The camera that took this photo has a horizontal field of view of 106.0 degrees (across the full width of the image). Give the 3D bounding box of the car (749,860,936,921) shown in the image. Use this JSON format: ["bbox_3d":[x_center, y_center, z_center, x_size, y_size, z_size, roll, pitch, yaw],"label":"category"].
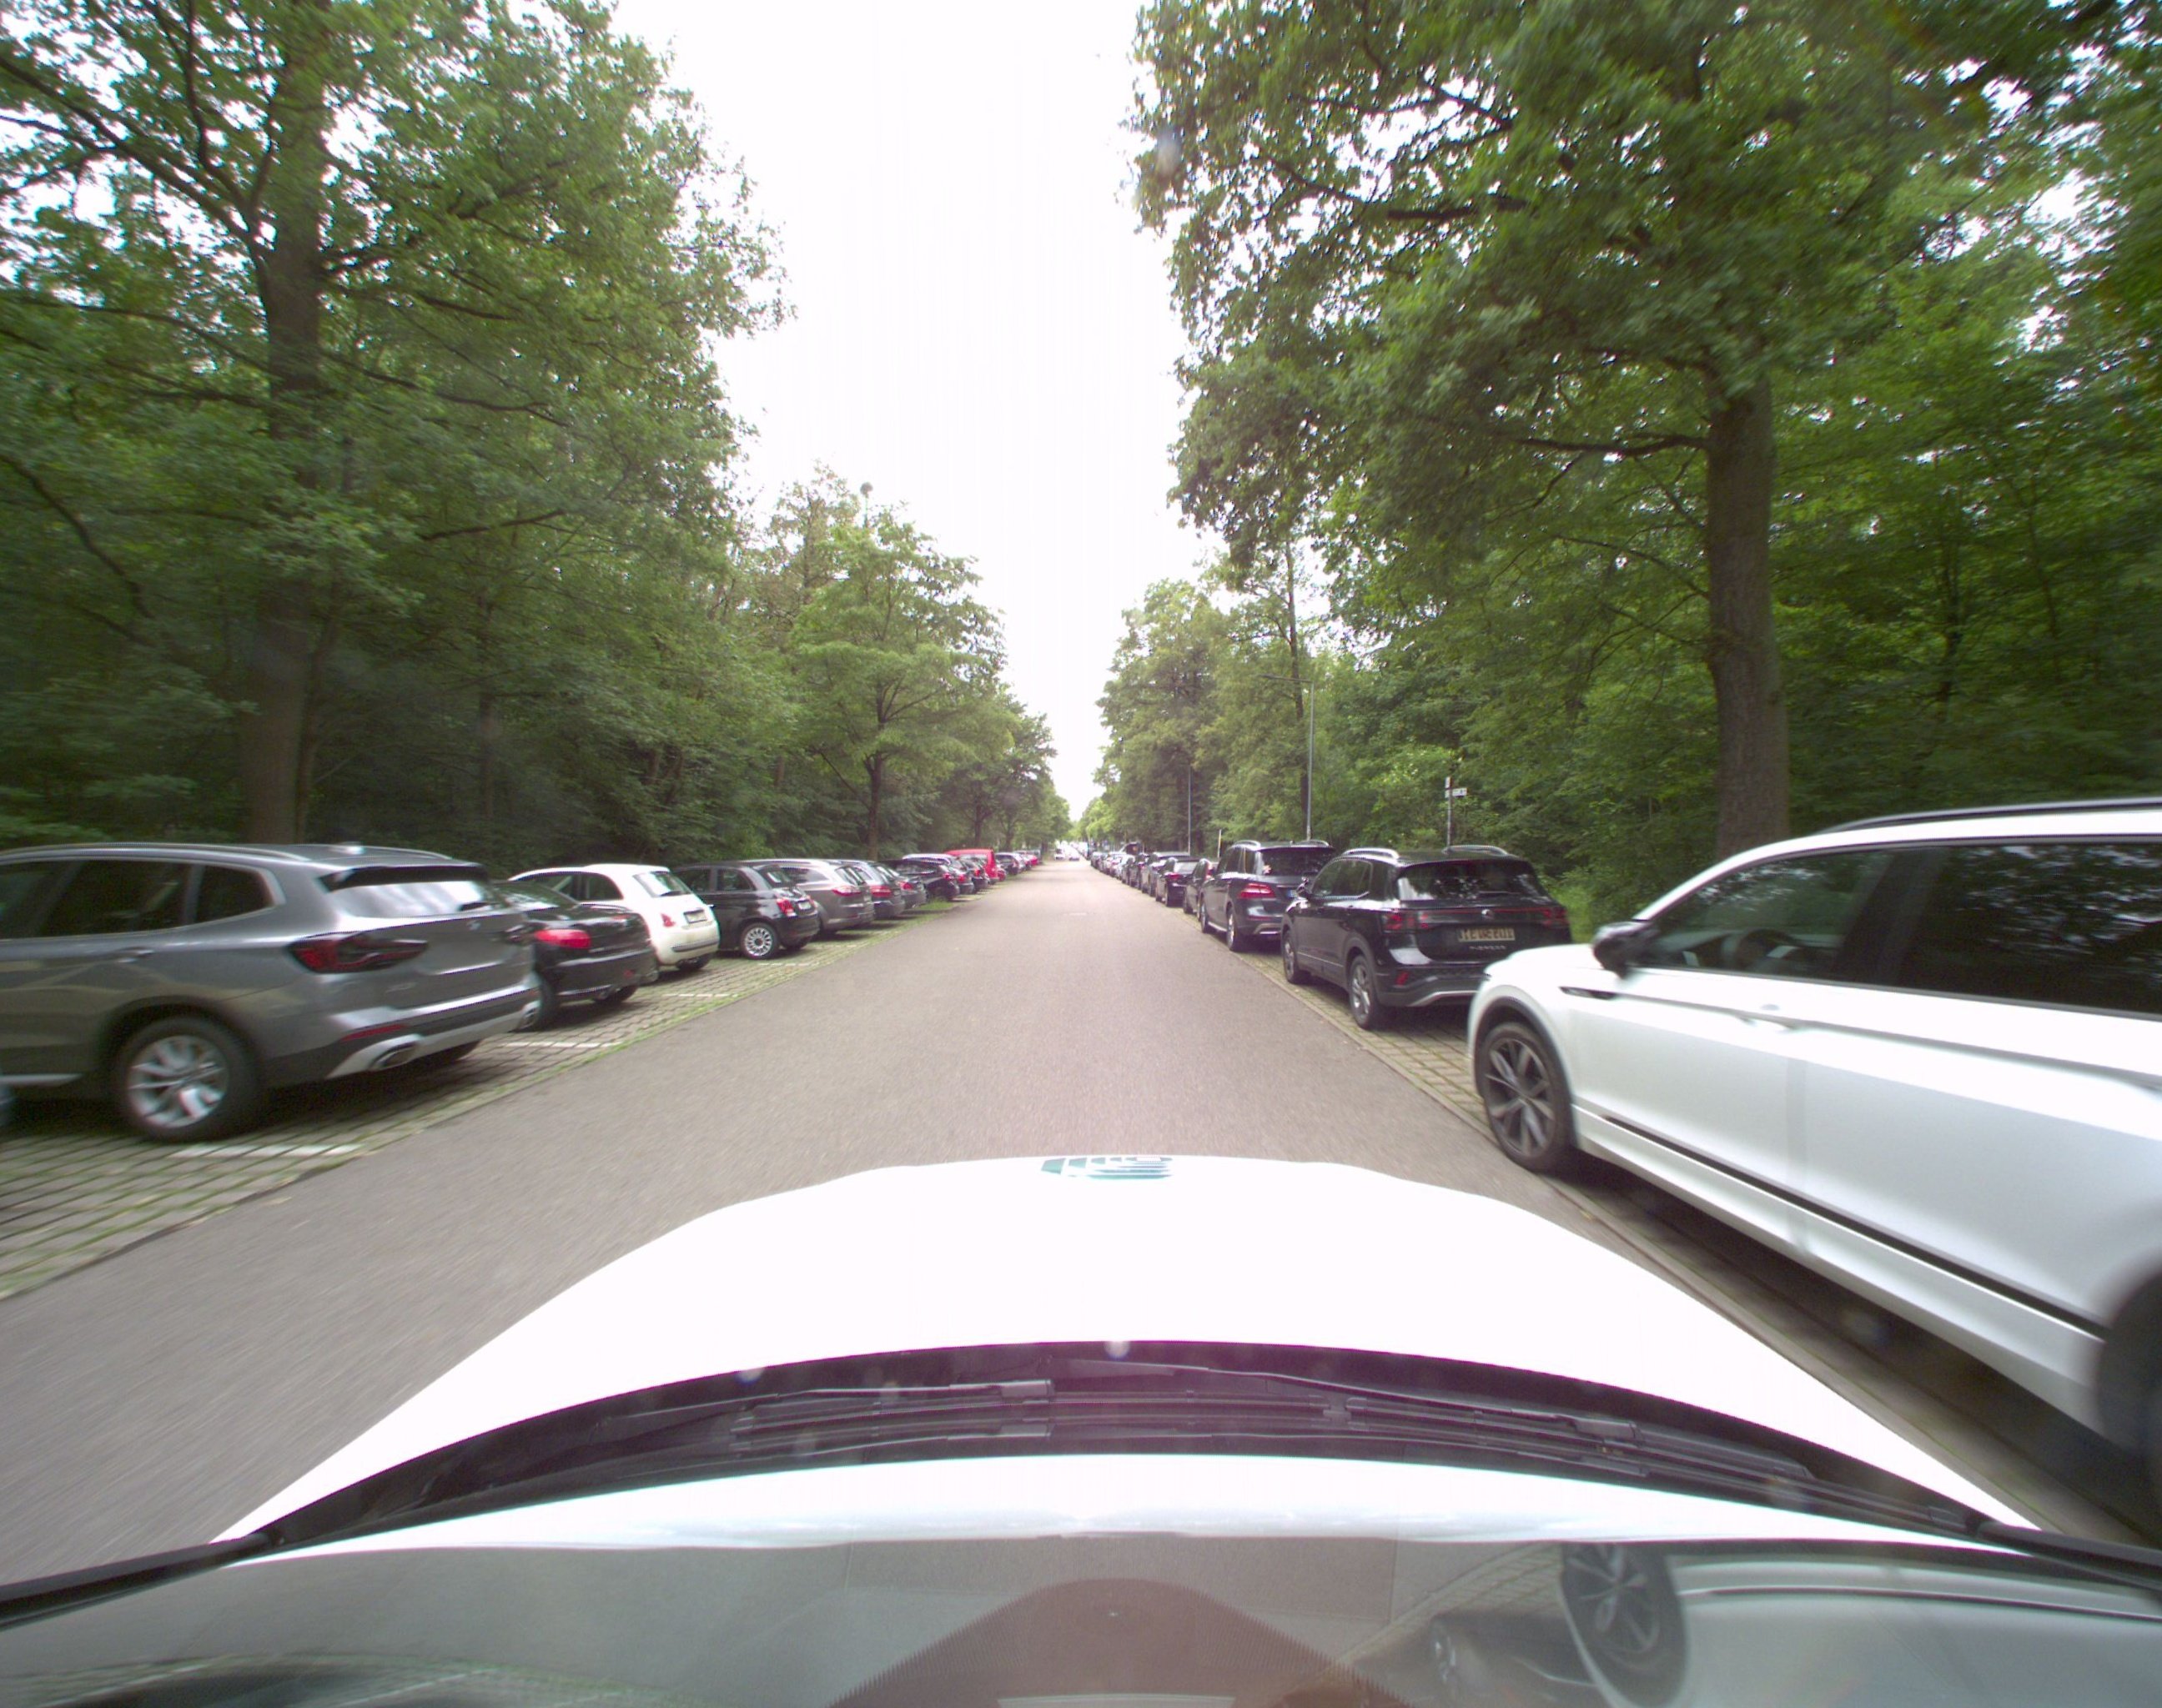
[{"bbox_3d":[-5.938,0.883,20.616,4.094,1.431,1.965,0,0,1],"label":"car"}]

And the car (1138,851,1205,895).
[{"bbox_3d":[3.325,0.649,30.865,1.972,1.537,4.619,0,0,-1],"label":"car"}]

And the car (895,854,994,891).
[{"bbox_3d":[-5.880,0.767,35.550,3.975,1.530,1.999,0,0,-1],"label":"car"}]

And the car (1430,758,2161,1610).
[{"bbox_3d":[2.984,0.640,2.467,1.780,1.662,4.715,0,0,-1],"label":"car"}]

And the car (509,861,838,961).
[{"bbox_3d":[-6.422,0.864,13.186,4.384,1.488,1.838,0,0,1],"label":"car"}]

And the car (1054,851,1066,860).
[{"bbox_3d":[-3.405,0.245,131.889,1.733,1.161,3.412,1,3,1],"label":"car"}]

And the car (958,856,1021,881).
[{"bbox_3d":[-5.909,0.914,52.878,3.820,1.536,1.871,0,0,0],"label":"car"}]

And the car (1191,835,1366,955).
[{"bbox_3d":[3.227,0.587,14.392,1.883,1.747,4.947,0,0,0],"label":"car"}]

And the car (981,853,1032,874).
[{"bbox_3d":[-6.134,0.766,67.627,3.974,1.640,2.009,0,0,0],"label":"car"}]

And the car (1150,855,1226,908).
[{"bbox_3d":[3.191,0.763,25.011,1.632,1.477,4.148,0,0,-2],"label":"car"}]

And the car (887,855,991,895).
[{"bbox_3d":[-5.702,0.823,33.107,3.980,1.530,1.997,0,0,-5],"label":"car"}]

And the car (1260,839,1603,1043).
[{"bbox_3d":[3.261,0.677,8.664,1.745,1.607,4.446,0,0,0],"label":"car"}]

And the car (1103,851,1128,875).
[{"bbox_3d":[2.525,0.651,60.023,1.705,1.728,3.999,0,0,0],"label":"car"}]

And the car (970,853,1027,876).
[{"bbox_3d":[-6.051,0.755,60.207,3.974,1.640,1.734,0,0,0],"label":"car"}]

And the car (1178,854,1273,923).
[{"bbox_3d":[3.430,0.760,19.972,1.593,1.504,4.089,0,0,0],"label":"car"}]

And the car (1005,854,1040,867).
[{"bbox_3d":[-6.515,0.698,90.361,3.581,1.361,1.820,0,0,-13],"label":"car"}]

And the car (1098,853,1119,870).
[{"bbox_3d":[2.427,0.633,72.434,1.705,1.509,3.999,0,0,0],"label":"car"}]

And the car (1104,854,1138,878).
[{"bbox_3d":[2.654,0.777,54.443,1.719,1.494,3.767,0,0,-6],"label":"car"}]

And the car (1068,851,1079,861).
[{"bbox_3d":[-1.132,0.260,128.642,1.686,1.415,3.153,1,3,-1],"label":"car"}]

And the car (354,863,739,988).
[{"bbox_3d":[-6.725,0.863,10.580,3.854,1.451,1.659,0,1,-2],"label":"car"}]

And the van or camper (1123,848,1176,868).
[{"bbox_3d":[10.133,0.561,120.249,7.337,2.888,2.636,0,3,-15],"label":"van or camper"}]

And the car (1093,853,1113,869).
[{"bbox_3d":[2.109,0.646,79.648,1.914,1.520,3.887,0,0,0],"label":"car"}]

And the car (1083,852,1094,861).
[{"bbox_3d":[1.189,0.405,134.504,1.624,1.415,3.410,1,3,-1],"label":"car"}]

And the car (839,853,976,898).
[{"bbox_3d":[-6.453,0.776,30.638,4.719,1.595,1.958,0,0,-2],"label":"car"}]

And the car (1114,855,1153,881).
[{"bbox_3d":[3.088,0.802,48.521,1.932,1.475,3.989,0,0,-2],"label":"car"}]

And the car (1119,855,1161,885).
[{"bbox_3d":[2.975,0.787,41.561,1.662,1.444,3.809,0,0,-3],"label":"car"}]

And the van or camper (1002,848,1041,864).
[{"bbox_3d":[-7.385,0.231,101.223,4.482,1.868,1.910,0,3,-15],"label":"van or camper"}]

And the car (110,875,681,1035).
[{"bbox_3d":[-6.369,0.896,7.977,3.968,1.310,1.809,0,1,-2],"label":"car"}]

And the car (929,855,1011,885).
[{"bbox_3d":[-5.799,0.820,42.945,3.974,1.474,2.114,0,0,-1],"label":"car"}]

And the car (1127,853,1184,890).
[{"bbox_3d":[3.272,0.732,36.501,1.974,1.537,4.161,0,0,-4],"label":"car"}]

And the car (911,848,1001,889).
[{"bbox_3d":[-5.786,0.674,38.098,3.978,1.816,2.112,0,0,-4],"label":"car"}]

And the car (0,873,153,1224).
[{"bbox_3d":[-6.579,0.837,3.147,4.007,1.465,1.800,0,0,2],"label":"car"}]

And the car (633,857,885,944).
[{"bbox_3d":[-6.038,0.842,15.710,4.080,1.523,1.927,0,0,-3],"label":"car"}]

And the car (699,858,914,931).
[{"bbox_3d":[-5.964,0.860,18.115,4.098,1.480,1.996,0,0,-1],"label":"car"}]

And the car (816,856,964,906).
[{"bbox_3d":[-5.894,0.824,25.592,4.289,1.449,1.753,0,0,-6],"label":"car"}]

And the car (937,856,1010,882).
[{"bbox_3d":[-6.297,0.856,48.033,3.974,1.474,1.847,0,0,0],"label":"car"}]

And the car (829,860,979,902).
[{"bbox_3d":[-5.971,0.893,27.941,4.719,1.343,1.986,0,0,-2],"label":"car"}]

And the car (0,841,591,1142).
[{"bbox_3d":[-6.028,0.746,5.479,4.209,1.633,2.029,0,0,1],"label":"car"}]
